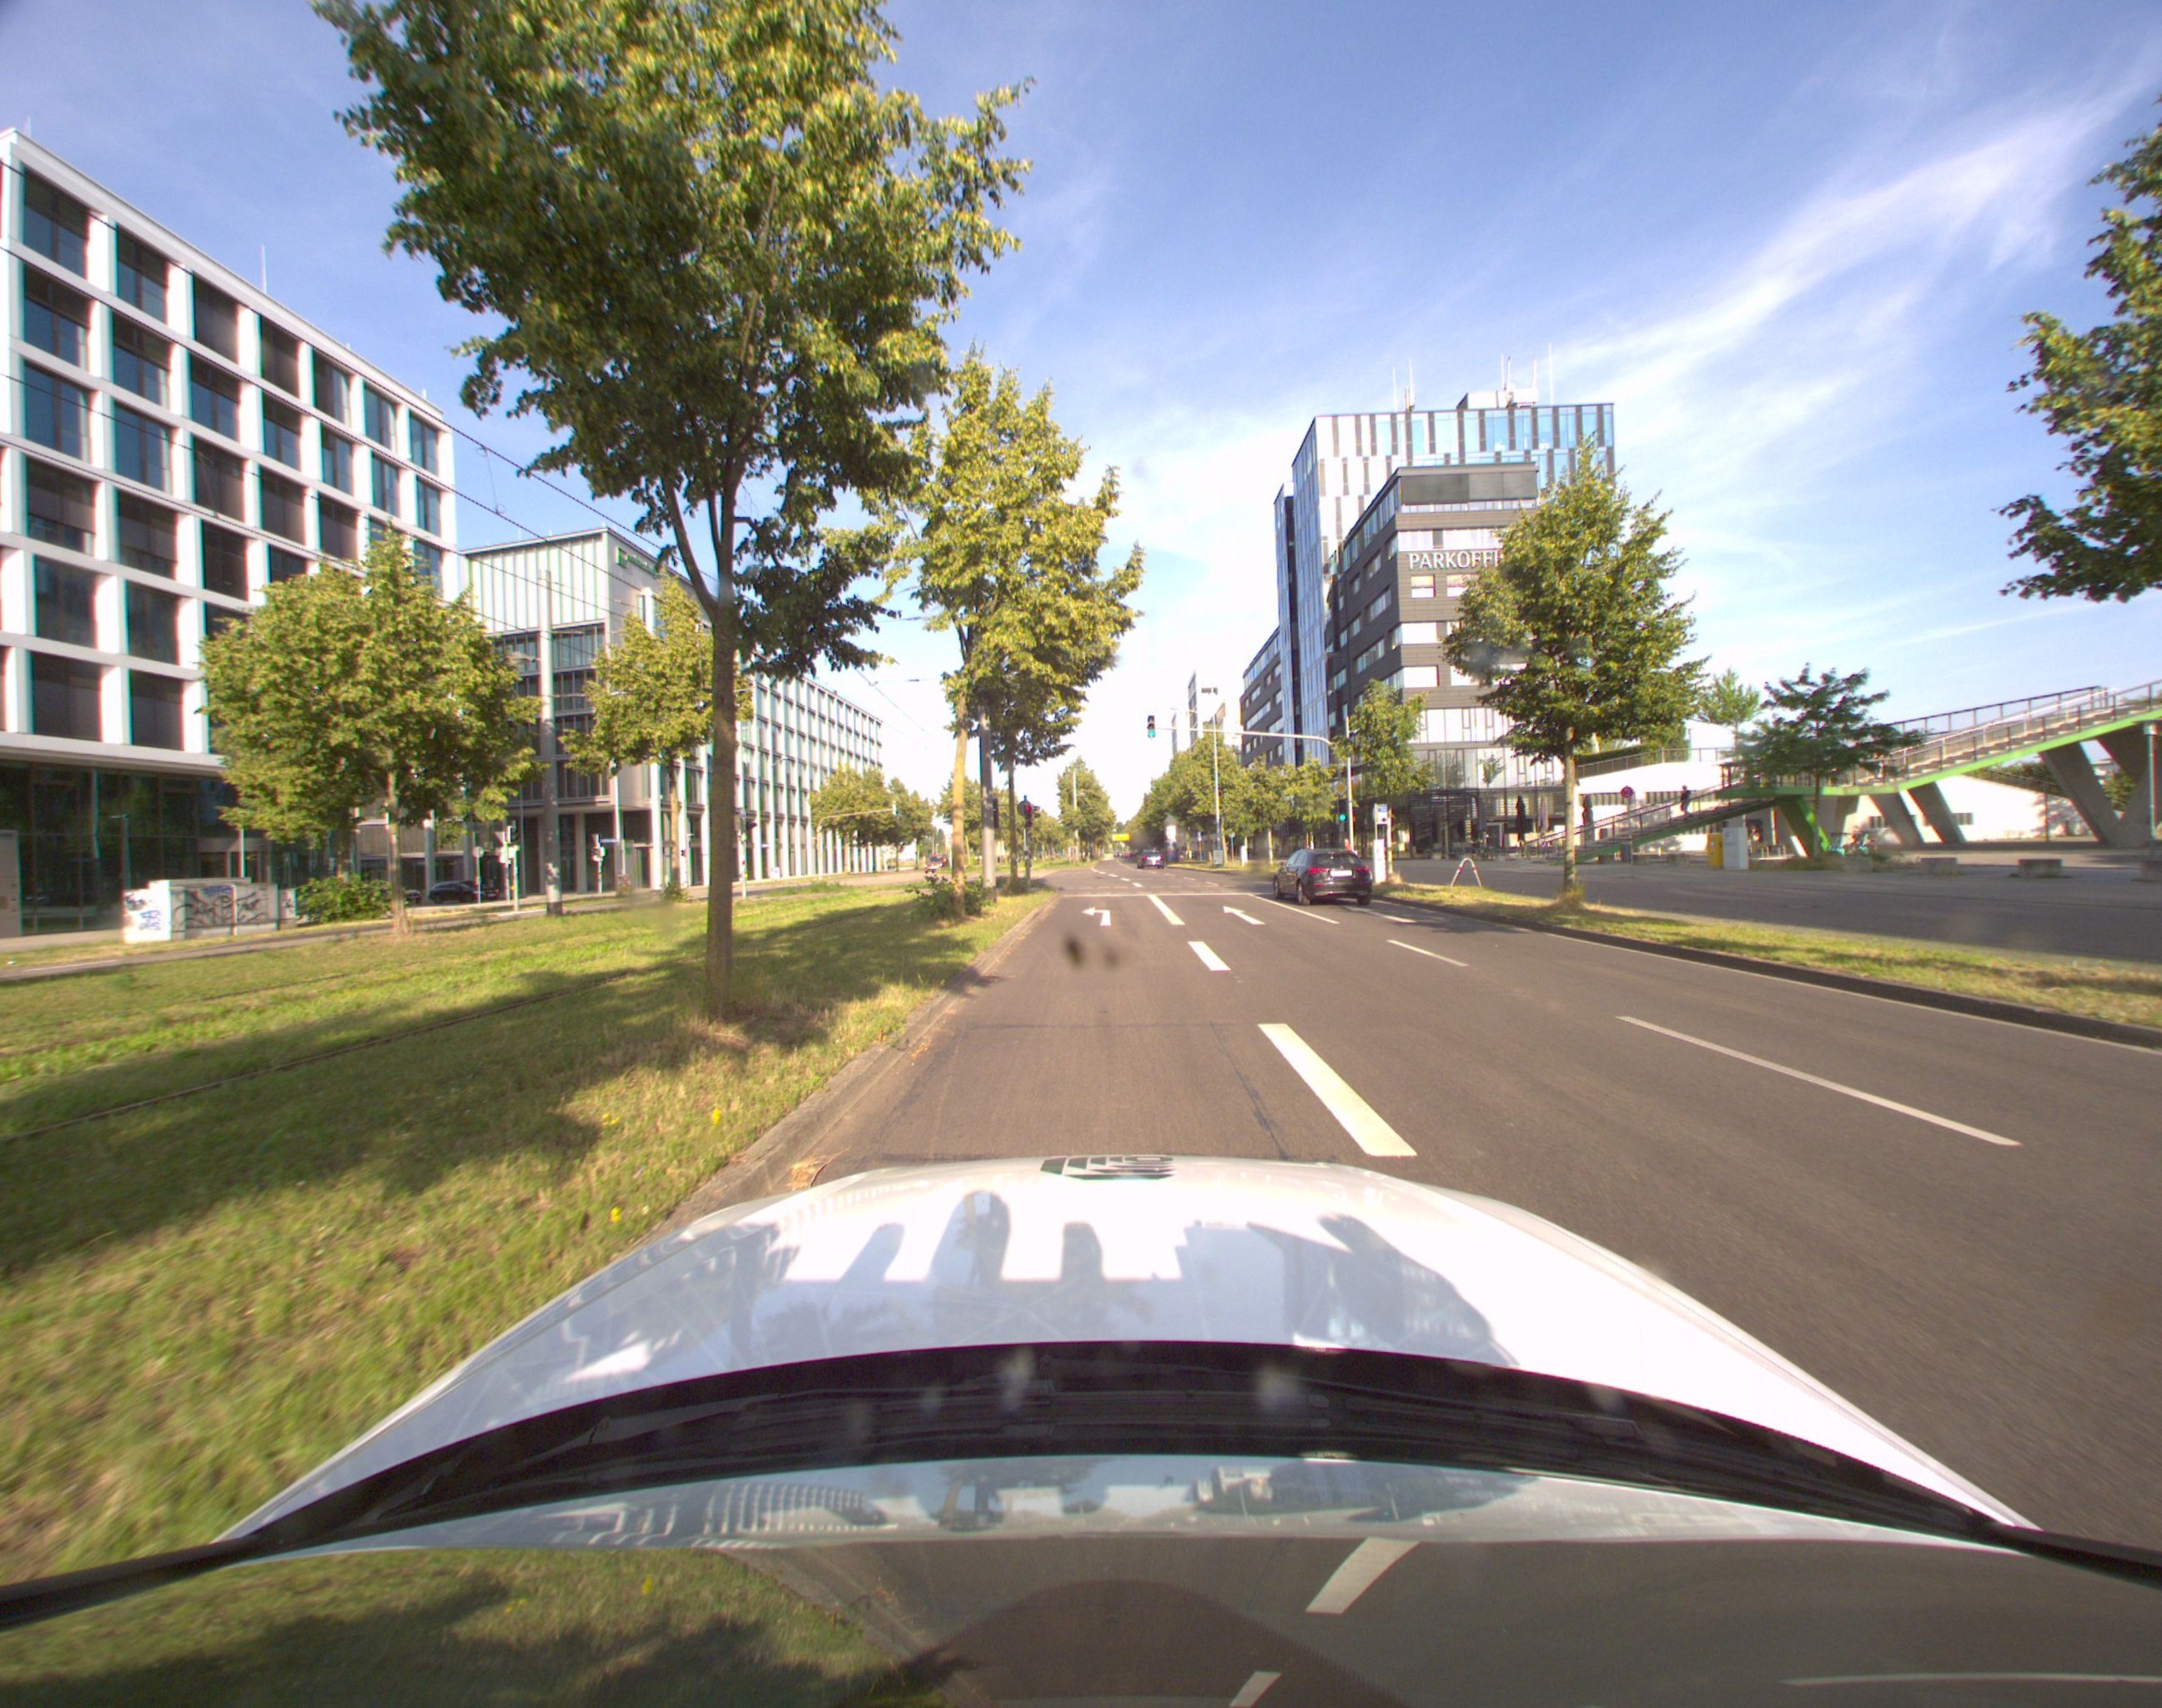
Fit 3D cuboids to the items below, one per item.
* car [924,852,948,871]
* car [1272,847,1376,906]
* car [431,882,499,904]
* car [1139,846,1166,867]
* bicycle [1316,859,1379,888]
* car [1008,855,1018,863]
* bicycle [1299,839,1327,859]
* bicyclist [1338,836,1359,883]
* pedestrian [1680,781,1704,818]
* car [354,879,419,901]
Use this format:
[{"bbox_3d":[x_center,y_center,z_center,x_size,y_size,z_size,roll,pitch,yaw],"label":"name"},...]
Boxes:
[{"bbox_3d":[-13.964,0.694,78.466,1.679,1.775,3.880,0,0,-2],"label":"car"},{"bbox_3d":[6.411,0.561,21.903,1.767,1.424,3.963,0,0,2],"label":"car"},{"bbox_3d":[-40.469,2.547,53.527,3.478,1.424,1.580,0,0,11],"label":"car"},{"bbox_3d":[5.444,0.206,62.281,1.852,1.524,3.787,0,0,2],"label":"car"},{"bbox_3d":[9.793,0.713,29.970,2.128,1.013,0.571,0,-1,-2],"label":"bicycle"},{"bbox_3d":[-12.360,0.868,147.881,1.634,1.443,3.953,0,0,-2],"label":"car"},{"bbox_3d":[21.999,-0.444,77.339,2.548,1.857,0.571,0,-1,11],"label":"bicycle"},{"bbox_3d":[9.842,0.210,29.947,0.573,1.707,0.540,0,-1,-1],"label":"bicyclist"},{"bbox_3d":[29.499,-2.617,39.314,0.688,1.692,0.790,0,-1,15],"label":"pedestrian"},{"bbox_3d":[-47.237,2.437,55.383,3.638,1.424,1.582,0,0,16],"label":"car"}]
